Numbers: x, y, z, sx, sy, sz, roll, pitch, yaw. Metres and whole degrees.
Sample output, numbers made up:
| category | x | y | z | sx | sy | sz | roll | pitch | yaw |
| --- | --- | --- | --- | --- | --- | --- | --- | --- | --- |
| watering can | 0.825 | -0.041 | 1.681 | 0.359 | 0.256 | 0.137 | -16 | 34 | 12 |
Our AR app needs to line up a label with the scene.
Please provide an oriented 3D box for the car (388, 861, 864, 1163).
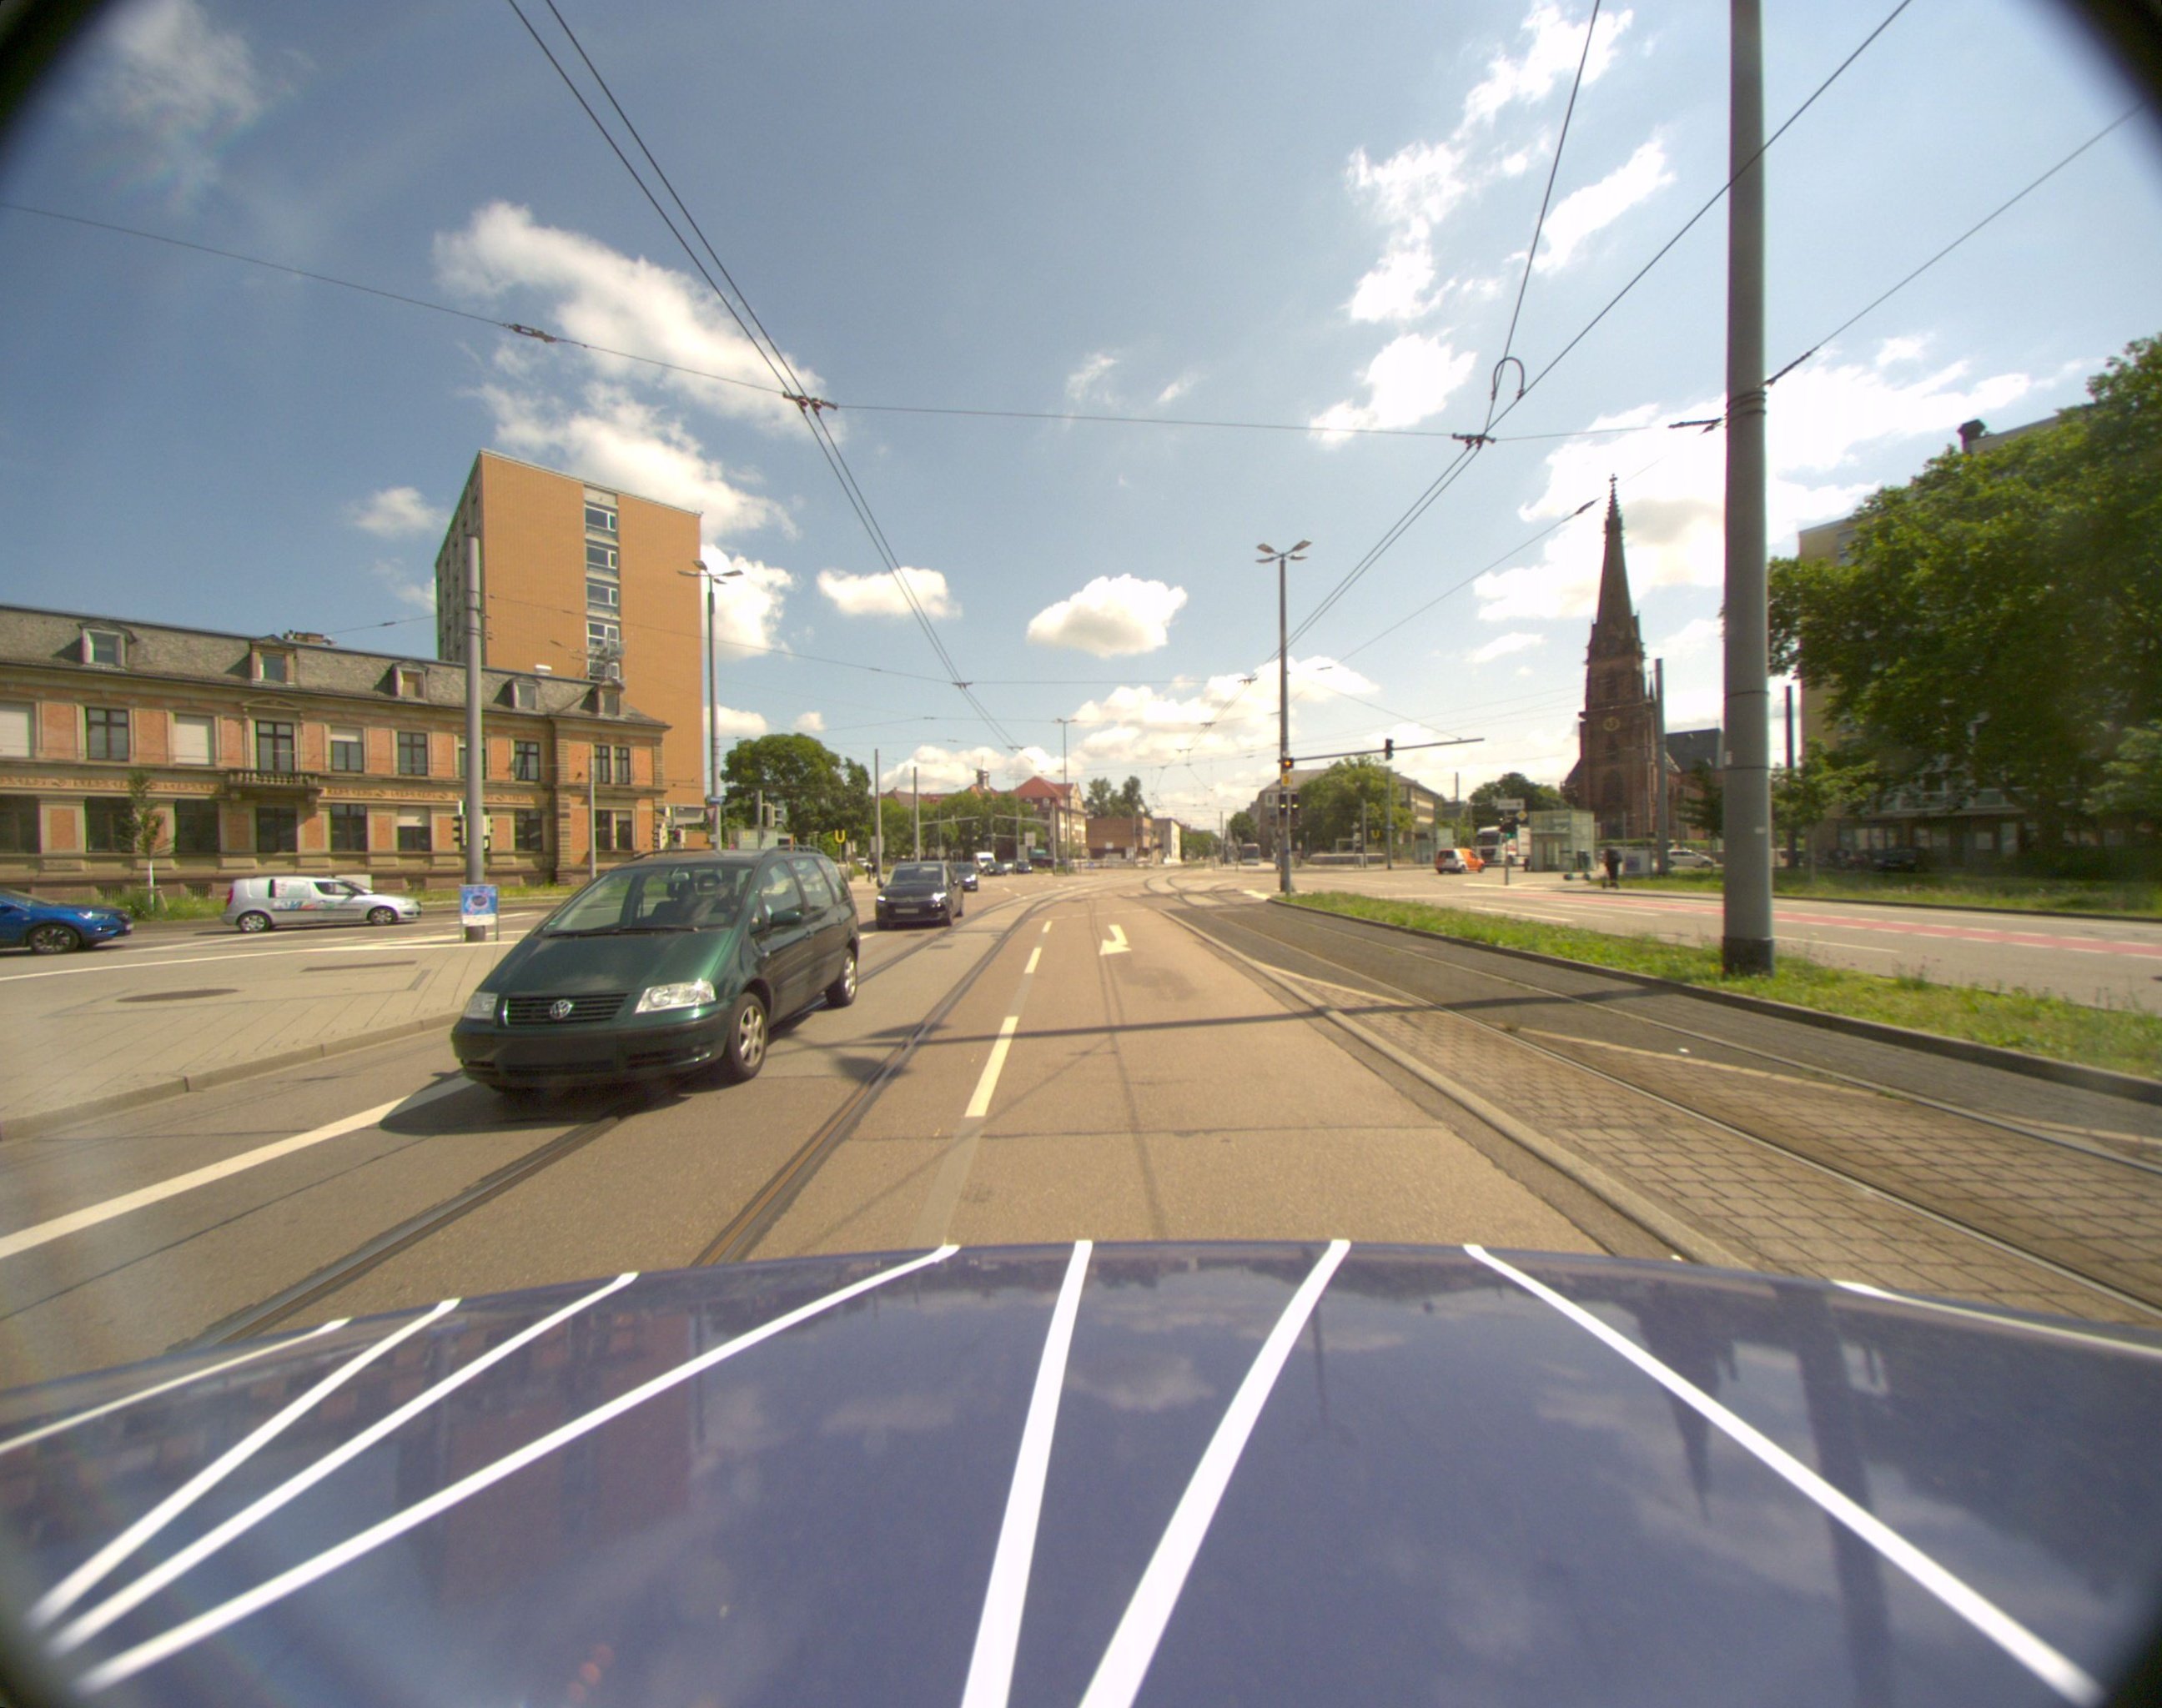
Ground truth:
| category | x | y | z | sx | sy | sz | roll | pitch | yaw |
| --- | --- | --- | --- | --- | --- | --- | --- | --- | --- |
| car | -3.336 | 0.973 | 6.670 | 1.819 | 1.707 | 4.083 | -2 | 0 | -3 |

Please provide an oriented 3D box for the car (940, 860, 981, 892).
| category | x | y | z | sx | sy | sz | roll | pitch | yaw |
| --- | --- | --- | --- | --- | --- | --- | --- | --- | --- |
| car | -6.049 | 1.047 | 38.571 | 1.874 | 1.477 | 4.424 | -1 | 0 | -7 |

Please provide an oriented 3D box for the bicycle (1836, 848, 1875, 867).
| category | x | y | z | sx | sy | sz | roll | pitch | yaw |
| --- | --- | --- | --- | --- | --- | --- | --- | --- | --- |
| bicycle | 47.765 | 0.210 | 46.864 | 0.494 | 1.161 | 1.598 | -2 | 0 | -31 |

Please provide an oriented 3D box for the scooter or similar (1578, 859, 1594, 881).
| category | x | y | z | sx | sy | sz | roll | pitch | yaw |
| --- | --- | --- | --- | --- | --- | --- | --- | --- | --- |
| scooter or similar | 25.408 | 0.799 | 38.248 | 0.416 | 1.118 | 0.556 | -1 | 0 | -1 |

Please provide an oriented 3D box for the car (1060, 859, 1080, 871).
| category | x | y | z | sx | sy | sz | roll | pitch | yaw |
| --- | --- | --- | --- | --- | --- | --- | --- | --- | --- |
| car | -1.512 | 1.522 | 101.804 | 1.816 | 1.551 | 4.103 | 0 | -1 | -14 |

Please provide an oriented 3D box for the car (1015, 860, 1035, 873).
| category | x | y | z | sx | sy | sz | roll | pitch | yaw |
| --- | --- | --- | --- | --- | --- | --- | --- | --- | --- |
| car | -6.119 | 1.381 | 83.146 | 1.673 | 1.368 | 3.912 | -1 | -1 | -11 |

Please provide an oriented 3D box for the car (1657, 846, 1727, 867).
| category | x | y | z | sx | sy | sz | roll | pitch | yaw |
| --- | --- | --- | --- | --- | --- | --- | --- | --- | --- |
| car | 49.811 | 0.222 | 62.024 | 4.164 | 1.633 | 1.632 | -1 | 0 | 18 |

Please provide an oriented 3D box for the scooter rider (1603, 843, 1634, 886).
| category | x | y | z | sx | sy | sz | roll | pitch | yaw |
| --- | --- | --- | --- | --- | --- | --- | --- | --- | --- |
| scooter rider | 21.924 | 0.428 | 30.978 | 0.779 | 1.697 | 0.649 | -1 | 0 | 0 |

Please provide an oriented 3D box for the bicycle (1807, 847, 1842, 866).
| category | x | y | z | sx | sy | sz | roll | pitch | yaw |
| --- | --- | --- | --- | --- | --- | --- | --- | --- | --- |
| bicycle | 49.475 | 0.154 | 50.581 | 0.494 | 1.257 | 1.598 | -2 | 0 | -31 |

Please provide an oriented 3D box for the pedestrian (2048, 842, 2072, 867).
| category | x | y | z | sx | sy | sz | roll | pitch | yaw |
| --- | --- | --- | --- | --- | --- | --- | --- | --- | --- |
| pedestrian | 52.216 | 0.040 | 40.526 | 0.563 | 1.318 | 0.758 | -2 | 0 | -36 |

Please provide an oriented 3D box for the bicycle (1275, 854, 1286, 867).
| category | x | y | z | sx | sy | sz | roll | pitch | yaw |
| --- | --- | --- | --- | --- | --- | --- | --- | --- | --- |
| bicycle | 32.067 | 1.054 | 122.044 | 1.246 | 2.002 | 3.487 | -1 | 0 | 9 |

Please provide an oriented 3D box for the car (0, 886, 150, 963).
| category | x | y | z | sx | sy | sz | roll | pitch | yaw |
| --- | --- | --- | --- | --- | --- | --- | --- | --- | --- |
| car | -24.871 | 1.632 | 17.209 | 4.435 | 1.542 | 1.869 | -1 | 2 | -38 |

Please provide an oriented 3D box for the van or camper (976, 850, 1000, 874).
| category | x | y | z | sx | sy | sz | roll | pitch | yaw |
| --- | --- | --- | --- | --- | --- | --- | --- | --- | --- |
| van or camper | -10.985 | 0.954 | 89.731 | 2.234 | 2.719 | 5.515 | -1 | 0 | -12 |

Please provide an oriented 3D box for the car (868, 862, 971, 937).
| category | x | y | z | sx | sy | sz | roll | pitch | yaw |
| --- | --- | --- | --- | --- | --- | --- | --- | --- | --- |
| car | -4.088 | 1.073 | 19.915 | 1.873 | 1.607 | 4.425 | -3 | 0 | -3 |

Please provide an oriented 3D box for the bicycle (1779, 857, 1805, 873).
| category | x | y | z | sx | sy | sz | roll | pitch | yaw |
| --- | --- | --- | --- | --- | --- | --- | --- | --- | --- |
| bicycle | 49.673 | 0.764 | 53.083 | 0.460 | 1.139 | 1.270 | -1 | 0 | -35 |

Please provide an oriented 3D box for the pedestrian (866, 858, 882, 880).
| category | x | y | z | sx | sy | sz | roll | pitch | yaw |
| --- | --- | --- | --- | --- | --- | --- | --- | --- | --- |
| pedestrian | -17.249 | 1.280 | 63.313 | 1.029 | 1.802 | 0.726 | -2 | 1 | -41 |

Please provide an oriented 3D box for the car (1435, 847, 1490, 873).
| category | x | y | z | sx | sy | sz | roll | pitch | yaw |
| --- | --- | --- | --- | --- | --- | --- | --- | --- | --- |
| car | 27.353 | 0.412 | 54.464 | 4.249 | 1.755 | 1.766 | -1 | 0 | -37 |

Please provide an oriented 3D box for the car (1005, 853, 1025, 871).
| category | x | y | z | sx | sy | sz | roll | pitch | yaw |
| --- | --- | --- | --- | --- | --- | --- | --- | --- | --- |
| car | -7.889 | 0.937 | 90.266 | 1.817 | 2.002 | 3.995 | -1 | 0 | -13 |

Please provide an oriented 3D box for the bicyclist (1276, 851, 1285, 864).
| category | x | y | z | sx | sy | sz | roll | pitch | yaw |
| --- | --- | --- | --- | --- | --- | --- | --- | --- | --- |
| bicyclist | 32.037 | 0.592 | 122.023 | 1.124 | 2.002 | 1.320 | 0 | 1 | 9 |

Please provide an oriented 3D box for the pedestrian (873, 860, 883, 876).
| category | x | y | z | sx | sy | sz | roll | pitch | yaw |
| --- | --- | --- | --- | --- | --- | --- | --- | --- | --- |
| pedestrian | -19.904 | 1.364 | 74.464 | 0.830 | 1.576 | 0.767 | -1 | 0 | -11 |

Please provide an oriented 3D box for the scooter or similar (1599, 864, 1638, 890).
| category | x | y | z | sx | sy | sz | roll | pitch | yaw |
| --- | --- | --- | --- | --- | --- | --- | --- | --- | --- |
| scooter or similar | 21.930 | 0.932 | 31.032 | 0.806 | 1.026 | 1.092 | -1 | 0 | 0 |

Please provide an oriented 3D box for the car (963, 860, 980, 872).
| category | x | y | z | sx | sy | sz | roll | pitch | yaw |
| --- | --- | --- | --- | --- | --- | --- | --- | --- | --- |
| car | -14.091 | 1.553 | 97.890 | 1.782 | 1.565 | 3.957 | -1 | -1 | -14 |

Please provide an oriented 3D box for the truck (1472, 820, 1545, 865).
| category | x | y | z | sx | sy | sz | roll | pitch | yaw |
| --- | --- | --- | --- | --- | --- | --- | --- | --- | --- |
| truck | 40.517 | -1.071 | 71.933 | 6.889 | 4.094 | 2.957 | -1 | 0 | -31 |

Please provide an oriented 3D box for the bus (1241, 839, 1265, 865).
| category | x | y | z | sx | sy | sz | roll | pitch | yaw |
| --- | --- | --- | --- | --- | --- | --- | --- | --- | --- |
| bus | 23.507 | -0.232 | 104.333 | 2.947 | 3.427 | 7.954 | -1 | 0 | 11 |

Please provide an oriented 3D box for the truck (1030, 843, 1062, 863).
| category | x | y | z | sx | sy | sz | roll | pitch | yaw |
| --- | --- | --- | --- | --- | --- | --- | --- | --- | --- |
| truck | -5.669 | -0.107 | 120.605 | 3.358 | 2.980 | 8.723 | -1 | 0 | -15 |

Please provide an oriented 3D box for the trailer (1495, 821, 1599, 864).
| category | x | y | z | sx | sy | sz | roll | pitch | yaw |
| --- | --- | --- | --- | --- | --- | --- | --- | --- | --- |
| trailer | 46.422 | -1.160 | 75.473 | 13.440 | 4.052 | 2.942 | -1 | 0 | -31 |

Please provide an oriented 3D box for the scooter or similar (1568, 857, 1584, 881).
| category | x | y | z | sx | sy | sz | roll | pitch | yaw |
| --- | --- | --- | --- | --- | --- | --- | --- | --- | --- |
| scooter or similar | 24.884 | 0.745 | 38.200 | 0.462 | 1.193 | 0.549 | -1 | 0 | -1 |

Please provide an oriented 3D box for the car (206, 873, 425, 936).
| category | x | y | z | sx | sy | sz | roll | pitch | yaw |
| --- | --- | --- | --- | --- | --- | --- | --- | --- | --- |
| car | -22.765 | 1.446 | 22.894 | 4.435 | 1.578 | 1.869 | -1 | 0 | -39 |

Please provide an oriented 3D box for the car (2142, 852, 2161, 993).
| category | x | y | z | sx | sy | sz | roll | pitch | yaw |
| --- | --- | --- | --- | --- | --- | --- | --- | --- | --- |
| car | 13.010 | 0.764 | 6.479 | 1.770 | 1.594 | 4.494 | -1 | 0 | 3 |

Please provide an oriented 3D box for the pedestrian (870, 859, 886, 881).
| category | x | y | z | sx | sy | sz | roll | pitch | yaw |
| --- | --- | --- | --- | --- | --- | --- | --- | --- | --- |
| pedestrian | -16.724 | 1.320 | 62.642 | 1.029 | 1.710 | 0.726 | -2 | 1 | -41 |

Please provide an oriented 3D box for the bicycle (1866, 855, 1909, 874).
| category | x | y | z | sx | sy | sz | roll | pitch | yaw |
| --- | --- | --- | --- | --- | --- | --- | --- | --- | --- |
| bicycle | 46.129 | 0.627 | 43.492 | 0.494 | 1.060 | 1.598 | -2 | 0 | -31 |

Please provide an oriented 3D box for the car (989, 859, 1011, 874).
| category | x | y | z | sx | sy | sz | roll | pitch | yaw |
| --- | --- | --- | --- | --- | --- | --- | --- | --- | --- |
| car | -8.588 | 1.275 | 80.271 | 1.902 | 1.455 | 4.256 | -1 | 0 | -13 |
